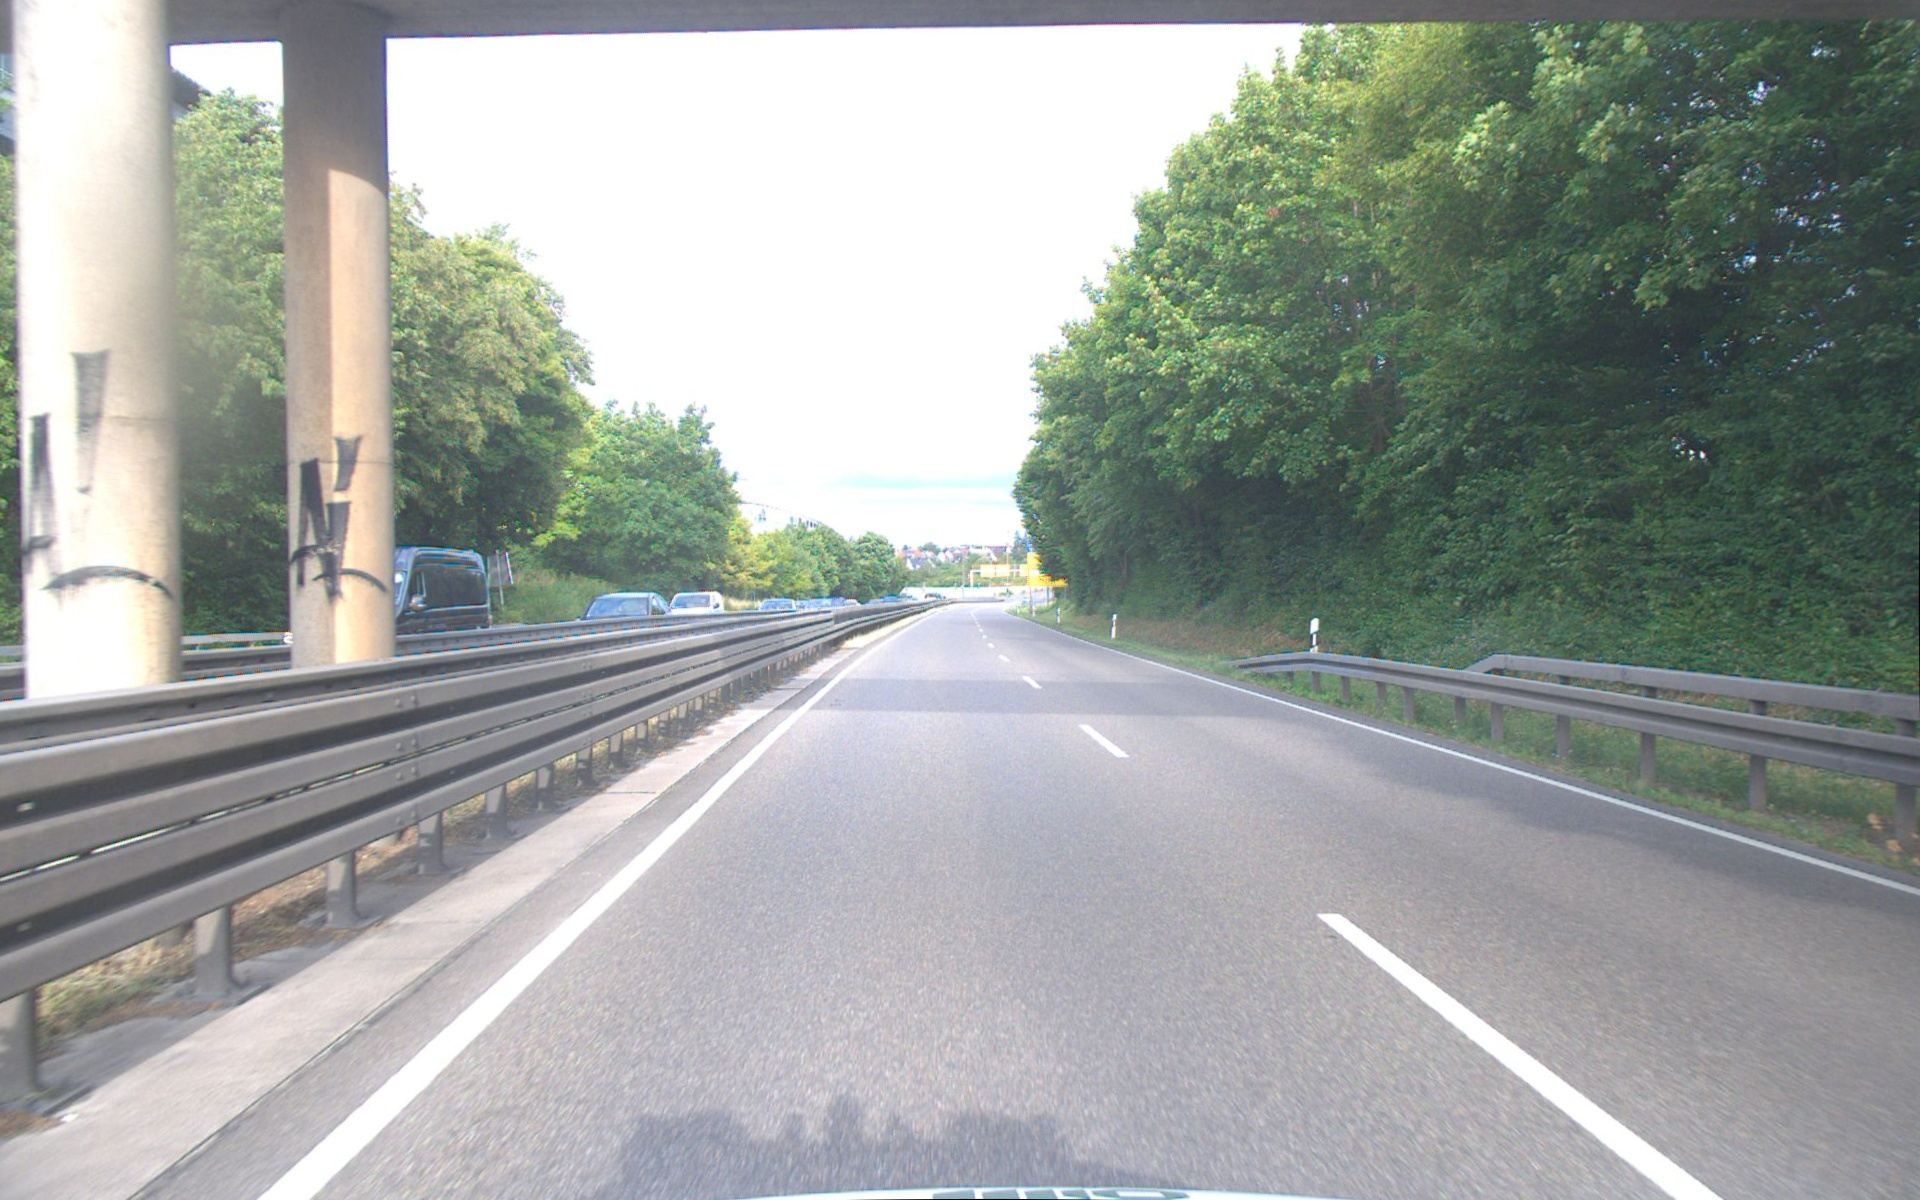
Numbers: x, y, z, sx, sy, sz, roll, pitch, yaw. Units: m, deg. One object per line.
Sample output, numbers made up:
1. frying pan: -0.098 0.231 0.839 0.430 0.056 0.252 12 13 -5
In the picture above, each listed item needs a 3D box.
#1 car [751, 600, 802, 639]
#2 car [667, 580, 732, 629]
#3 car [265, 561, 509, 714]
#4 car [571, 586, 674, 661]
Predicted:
1. car: -7.275 0.750 65.771 1.647 1.512 3.646 0 0 0
2. car: -10.486 0.173 66.891 1.829 1.888 4.623 0 0 1
3. car: -10.582 0.613 31.261 2.203 2.581 6.940 0 0 0
4. car: -7.281 0.473 35.980 1.573 1.555 3.639 0 0 -1
